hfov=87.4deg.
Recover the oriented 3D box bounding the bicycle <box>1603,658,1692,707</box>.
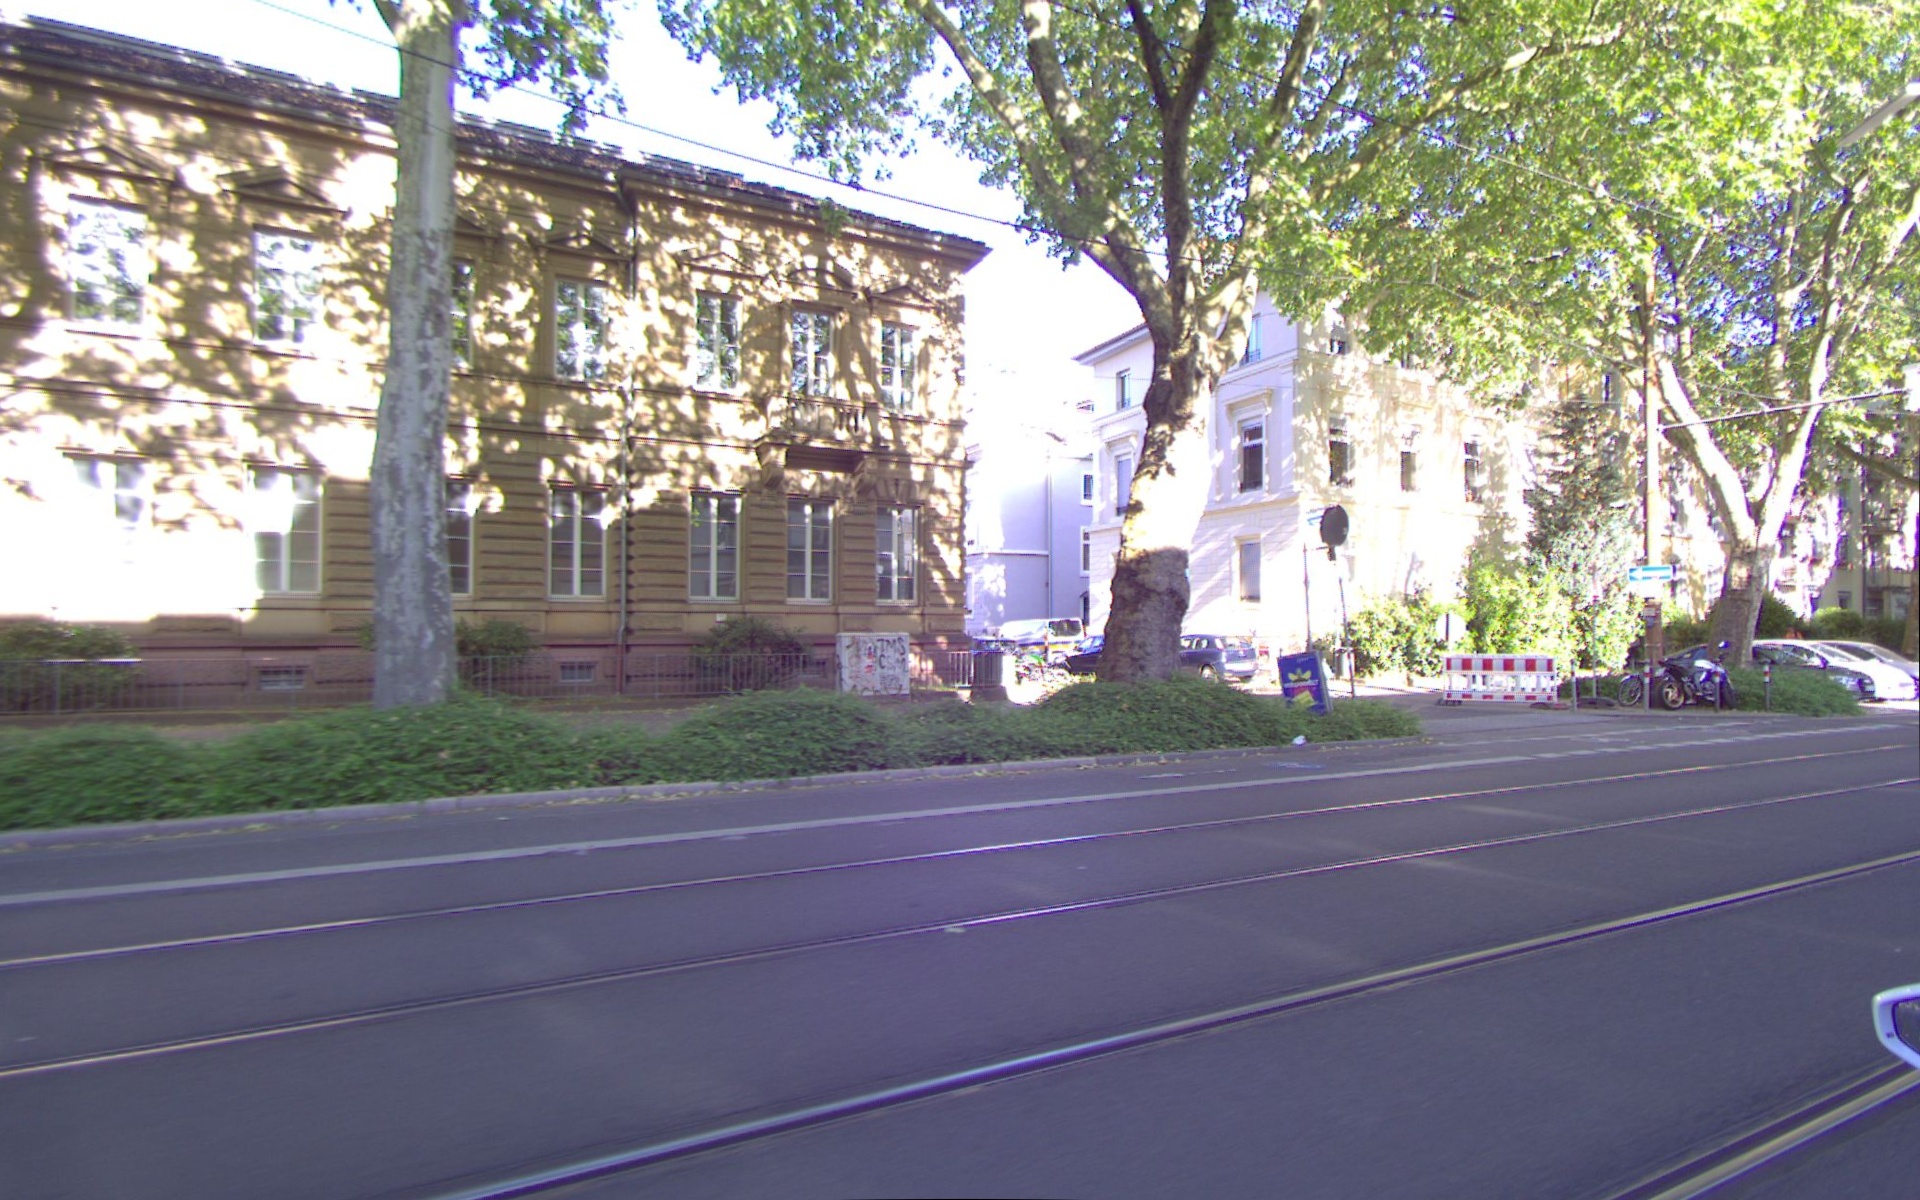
[{"bbox_3d":[14.516,1.725,21.202,2.004,0.953,0.540,1,-1,-22],"label":"bicycle"}]

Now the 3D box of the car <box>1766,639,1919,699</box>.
[{"bbox_3d":[24.150,1.780,26.676,1.783,1.481,3.904,1,-2,-28],"label":"car"}]

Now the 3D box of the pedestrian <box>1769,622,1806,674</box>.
[{"bbox_3d":[30.427,1.758,36.928,0.830,1.874,0.859,1,-1,-37],"label":"pedestrian"}]

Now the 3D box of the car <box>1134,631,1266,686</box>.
[{"bbox_3d":[7.042,1.715,29.808,1.673,1.437,3.761,-2,-1,-28],"label":"car"}]

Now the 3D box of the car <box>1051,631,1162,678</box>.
[{"bbox_3d":[4.885,1.832,33.984,1.673,1.437,3.904,-1,-2,-28],"label":"car"}]

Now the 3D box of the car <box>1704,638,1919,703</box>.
[{"bbox_3d":[21.547,1.721,25.497,1.778,1.472,3.904,1,-2,-29],"label":"car"}]

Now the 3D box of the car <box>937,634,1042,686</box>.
[{"bbox_3d":[0.820,1.754,30.362,1.820,1.350,3.914,1,-1,-21],"label":"car"}]

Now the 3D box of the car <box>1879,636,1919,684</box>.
[{"bbox_3d":[31.361,1.924,31.134,1.727,1.461,3.903,1,-1,-29],"label":"car"}]

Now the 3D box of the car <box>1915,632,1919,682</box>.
[{"bbox_3d":[33.400,1.898,31.993,1.857,1.648,3.977,1,-1,-29],"label":"car"}]

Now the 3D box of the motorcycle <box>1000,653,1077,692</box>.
[{"bbox_3d":[2.112,1.931,26.943,1.924,0.990,0.719,1,0,-17],"label":"motorcycle"}]

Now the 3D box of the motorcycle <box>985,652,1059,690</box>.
[{"bbox_3d":[1.732,1.984,28.060,1.924,0.990,0.719,1,0,-17],"label":"motorcycle"}]

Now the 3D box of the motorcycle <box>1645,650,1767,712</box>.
[{"bbox_3d":[15.027,1.610,20.237,2.355,1.162,0.883,1,-1,-22],"label":"motorcycle"}]

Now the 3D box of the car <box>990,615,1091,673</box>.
[{"bbox_3d":[3.051,1.685,39.155,1.987,2.029,4.395,-2,-1,-25],"label":"car"}]

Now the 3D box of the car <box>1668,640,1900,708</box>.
[{"bbox_3d":[19.556,1.700,24.005,1.825,1.350,3.903,1,-1,-28],"label":"car"}]
